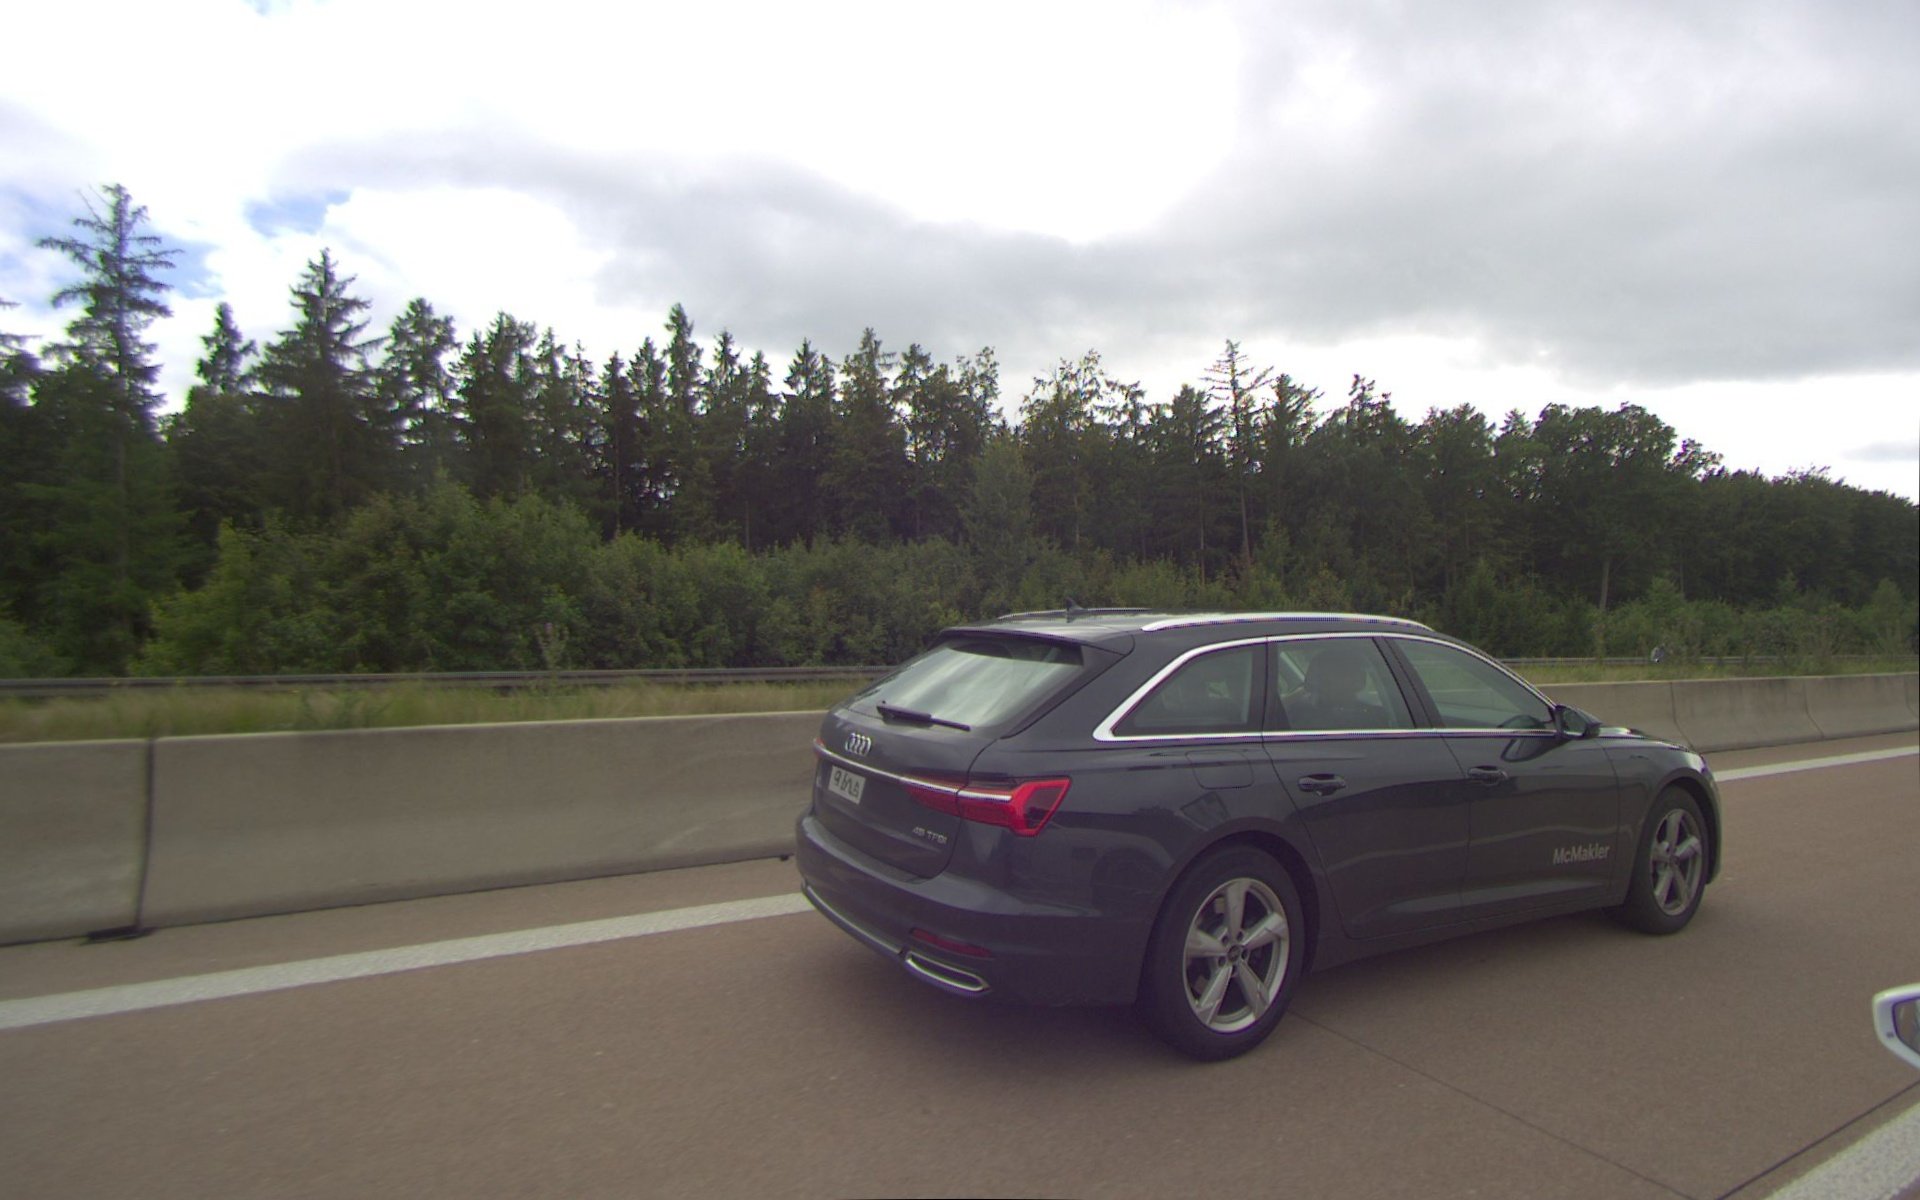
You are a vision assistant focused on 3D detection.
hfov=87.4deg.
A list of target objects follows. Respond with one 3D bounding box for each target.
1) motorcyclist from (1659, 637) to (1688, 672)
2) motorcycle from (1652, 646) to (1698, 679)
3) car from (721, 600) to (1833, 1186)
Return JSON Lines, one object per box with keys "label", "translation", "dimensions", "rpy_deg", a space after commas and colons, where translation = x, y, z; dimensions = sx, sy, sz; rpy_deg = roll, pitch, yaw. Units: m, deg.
{"label": "motorcyclist", "translation": [27.335, 2.077, 38.482], "dimensions": [0.792, 1.301, 0.591], "rpy_deg": [1, 1, -30]}
{"label": "motorcycle", "translation": [27.437, 2.383, 38.556], "dimensions": [2.129, 1.171, 0.597], "rpy_deg": [1, 1, -31]}
{"label": "car", "translation": [1.791, 0.811, 4.860], "dimensions": [5.388, 1.511, 2.049], "rpy_deg": [1, 0, -30]}
